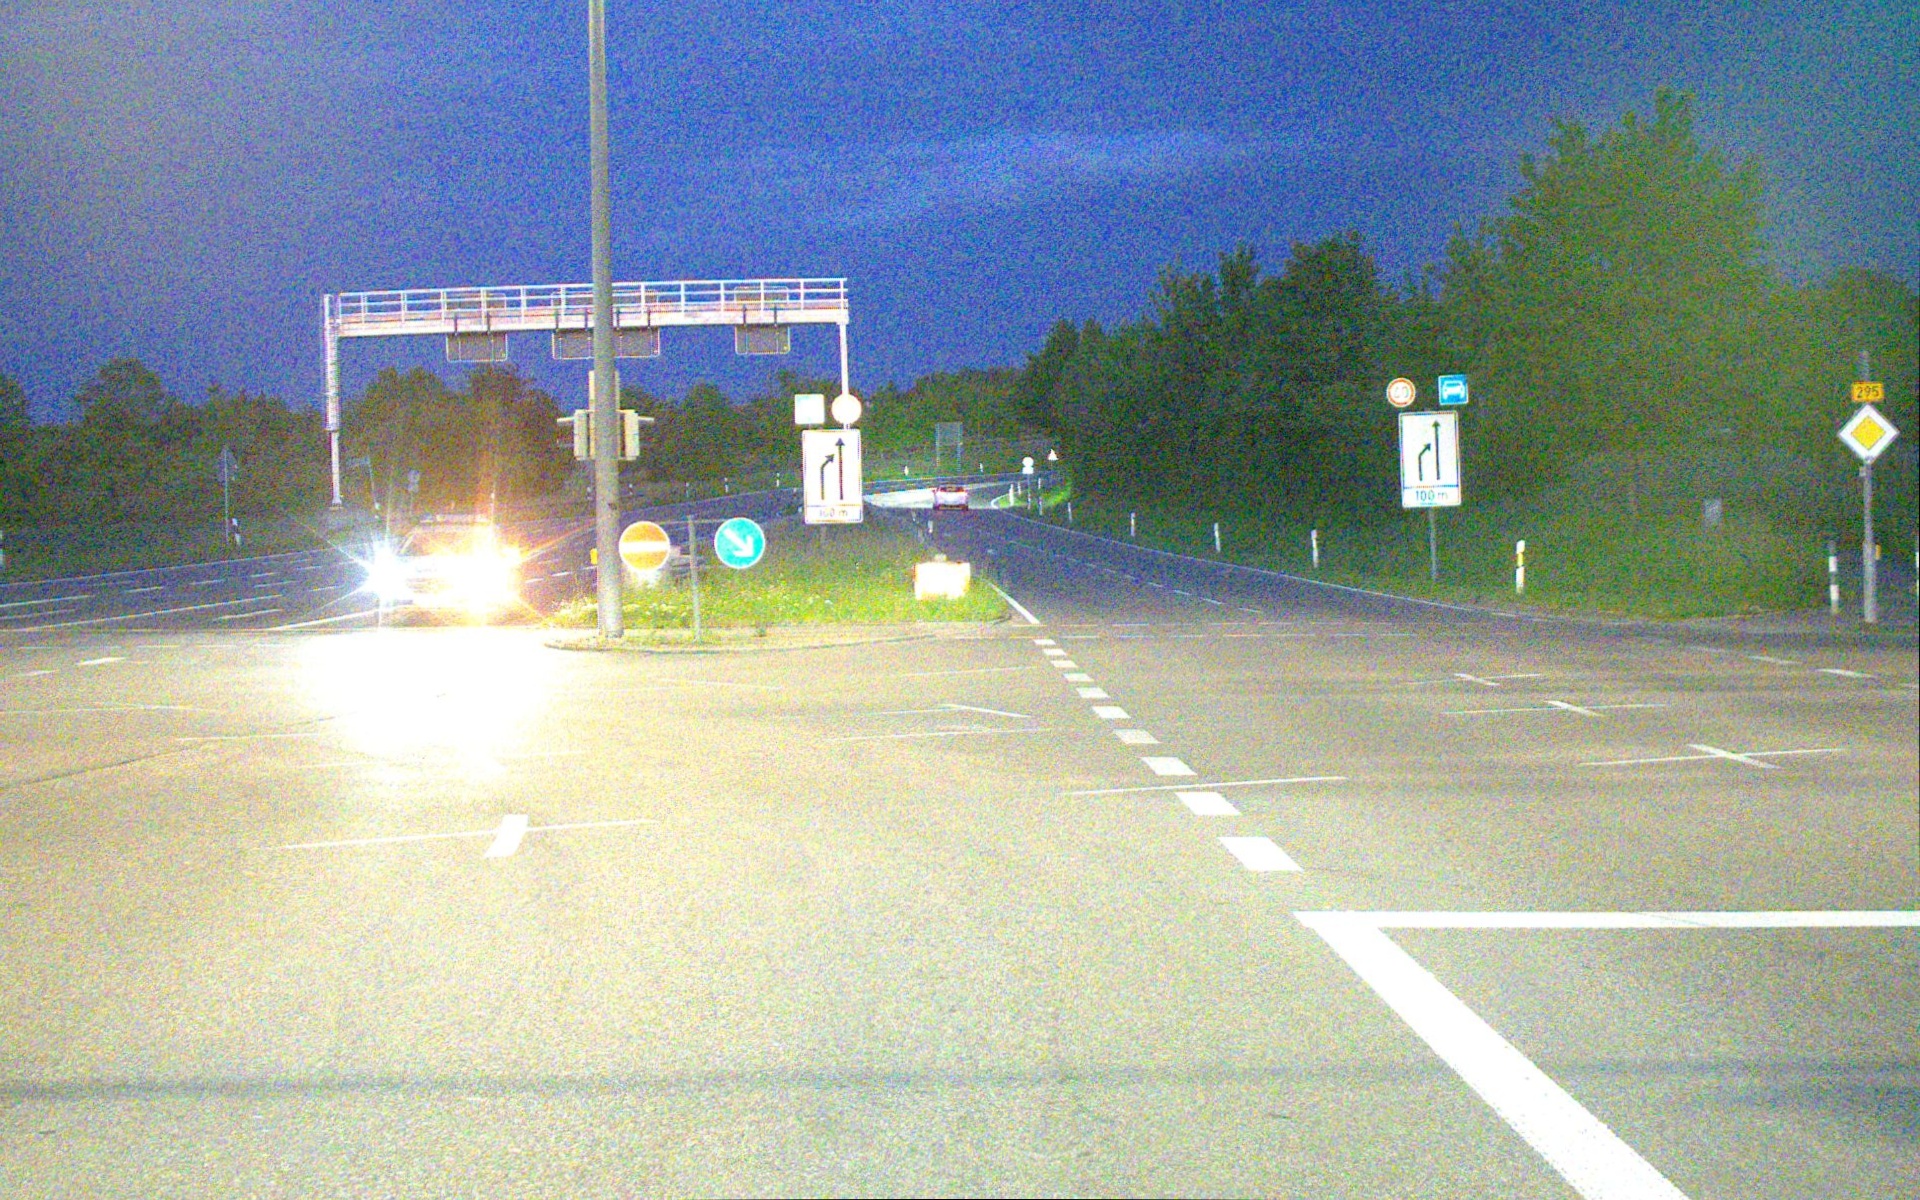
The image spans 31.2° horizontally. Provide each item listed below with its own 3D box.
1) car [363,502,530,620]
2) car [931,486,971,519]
[{"bbox_3d":[-7.637,-0.620,51.460,1.993,1.692,4.001,0,2,-2],"label":"car"},{"bbox_3d":[-0.472,-5.159,182.050,2.007,1.605,3.845,0,0,2],"label":"car"}]
